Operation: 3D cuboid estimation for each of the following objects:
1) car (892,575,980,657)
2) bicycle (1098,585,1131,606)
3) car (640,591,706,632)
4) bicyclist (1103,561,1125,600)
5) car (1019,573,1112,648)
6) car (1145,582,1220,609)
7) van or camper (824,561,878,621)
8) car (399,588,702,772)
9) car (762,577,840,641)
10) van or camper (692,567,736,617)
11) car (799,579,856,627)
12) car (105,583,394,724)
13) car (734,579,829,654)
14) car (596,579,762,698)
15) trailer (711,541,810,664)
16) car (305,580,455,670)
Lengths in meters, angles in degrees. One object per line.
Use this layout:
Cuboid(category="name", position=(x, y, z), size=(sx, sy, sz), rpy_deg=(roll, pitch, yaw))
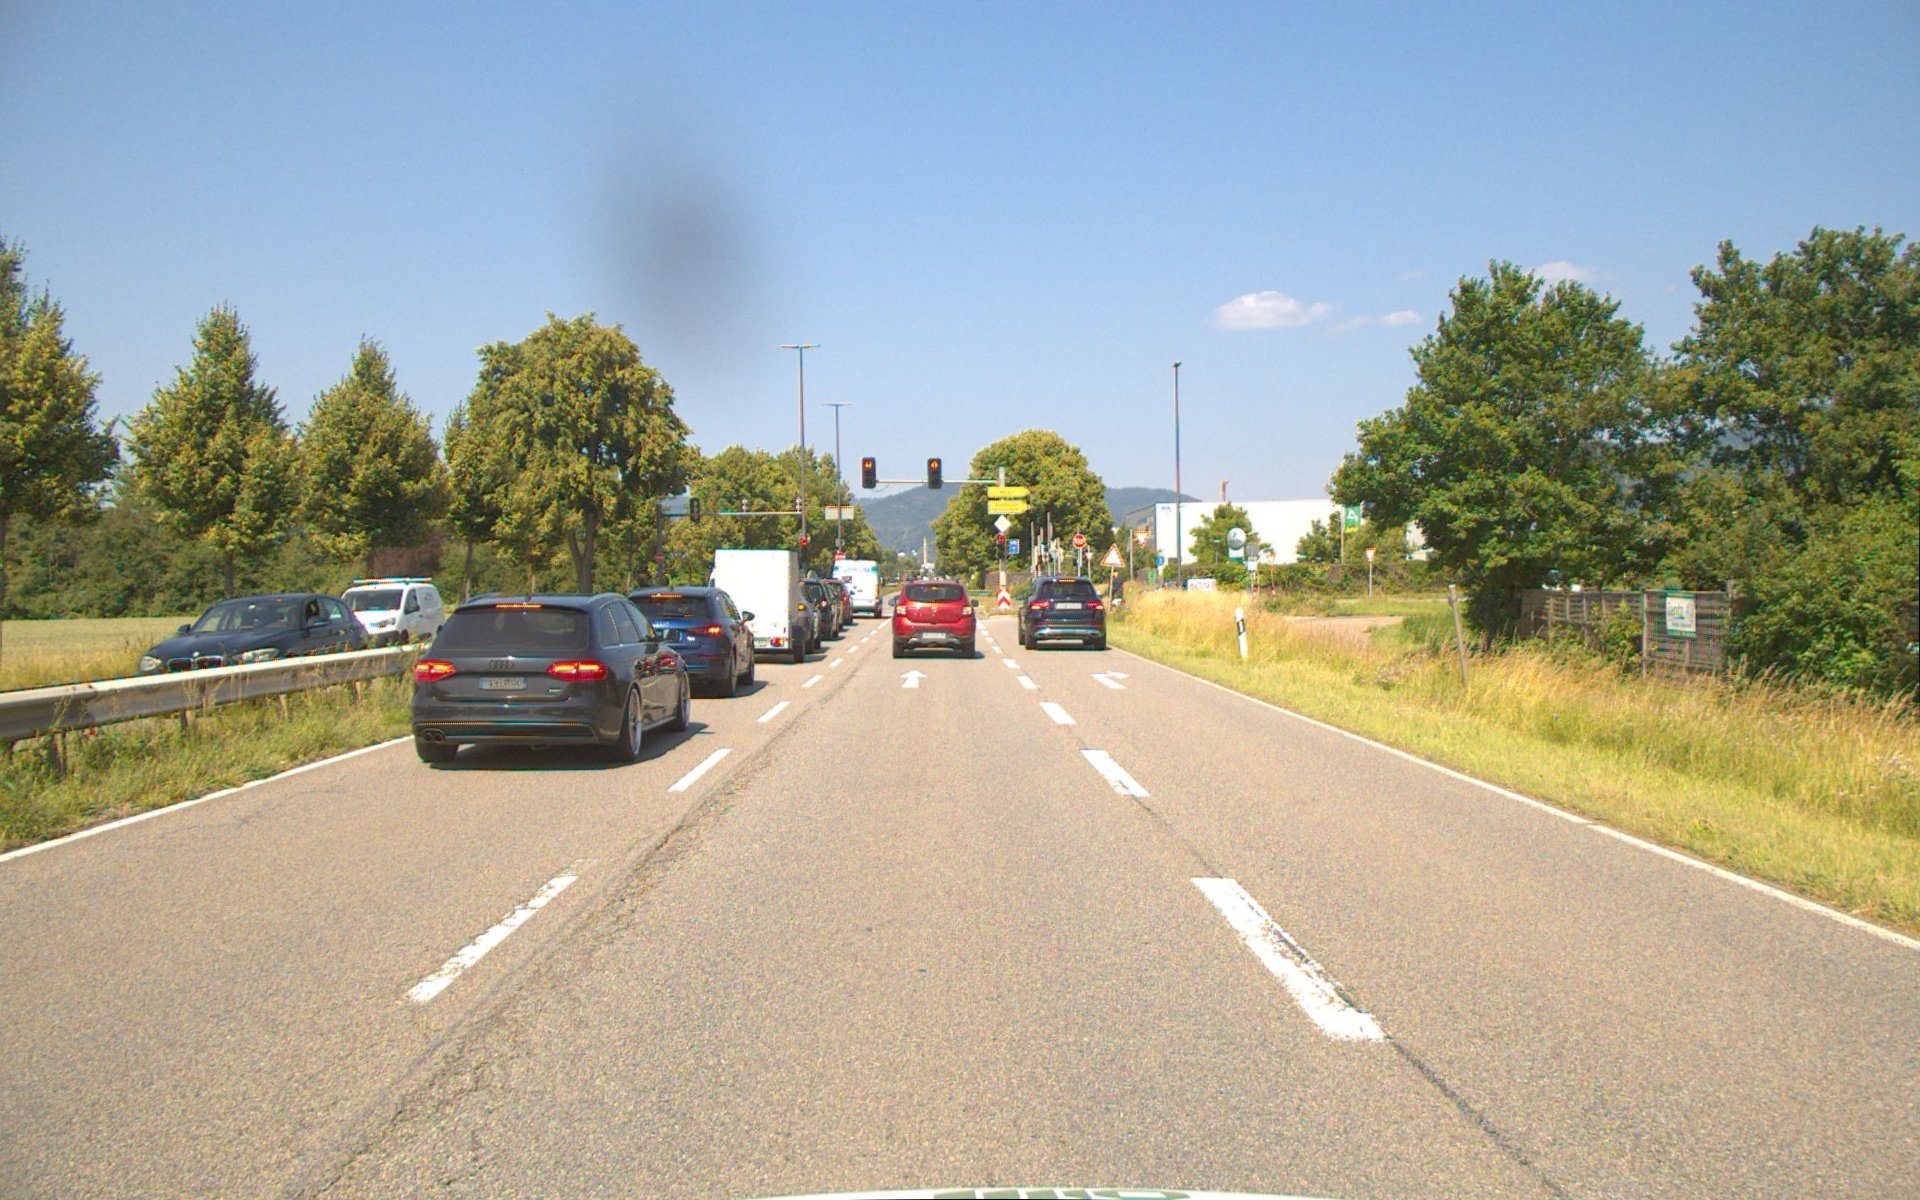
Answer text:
Cuboid(category="car", position=(-0.463, 0.298, 34.530), size=(1.713, 1.603, 3.677), rpy_deg=(1, 1, 0))
Cuboid(category="bicycle", position=(7.251, -0.223, 77.814), size=(0.748, 0.931, 2.772), rpy_deg=(-1, 1, -11))
Cuboid(category="car", position=(-11.084, 0.423, 64.137), size=(1.841, 1.480, 4.503), rpy_deg=(-1, 1, -2))
Cuboid(category="bicyclist", position=(7.247, -0.925, 77.784), size=(0.788, 1.802, 0.806), rpy_deg=(-1, 1, -12))
Cuboid(category="car", position=(2.408, 0.202, 38.701), size=(1.952, 1.645, 4.340), rpy_deg=(0, 1, 0))
Cuboid(category="car", position=(11.922, -0.242, 88.810), size=(3.902, 1.350, 1.808), rpy_deg=(-1, 0, 6))
Cuboid(category="van or camper", position=(-4.435, -0.380, 67.864), size=(2.136, 2.343, 4.823), rpy_deg=(0, 0, -3))
Cuboid(category="car", position=(-3.535, 0.609, 15.094), size=(1.705, 1.404, 4.454), rpy_deg=(0, 1, -1))
Cuboid(category="car", position=(-4.121, 0.206, 43.348), size=(1.688, 1.603, 3.892), rpy_deg=(0, 1, 0))
Cuboid(category="van or camper", position=(-16.269, -0.537, 109.431), size=(2.217, 3.153, 5.693), rpy_deg=(-1, 1, -2))
Cuboid(category="car", position=(-4.572, 0.082, 57.434), size=(1.689, 1.628, 3.955), rpy_deg=(0, 1, 0))
Cuboid(category="car", position=(-9.177, 0.608, 21.828), size=(1.953, 1.631, 4.479), rpy_deg=(-1, 1, -2))
Cuboid(category="car", position=(-3.862, 0.317, 36.396), size=(1.710, 1.529, 4.362), rpy_deg=(0, 1, -1))
Cuboid(category="car", position=(-3.785, 0.466, 22.889), size=(1.682, 1.490, 4.029), rpy_deg=(0, 1, -1))
Cuboid(category="trailer", position=(-3.826, 0.021, 32.255), size=(1.470, 2.211, 4.173), rpy_deg=(-1, 1, -1))
Cuboid(category="car", position=(-13.747, 0.543, 39.495), size=(1.953, 1.985, 4.829), rpy_deg=(-1, 1, -2))
